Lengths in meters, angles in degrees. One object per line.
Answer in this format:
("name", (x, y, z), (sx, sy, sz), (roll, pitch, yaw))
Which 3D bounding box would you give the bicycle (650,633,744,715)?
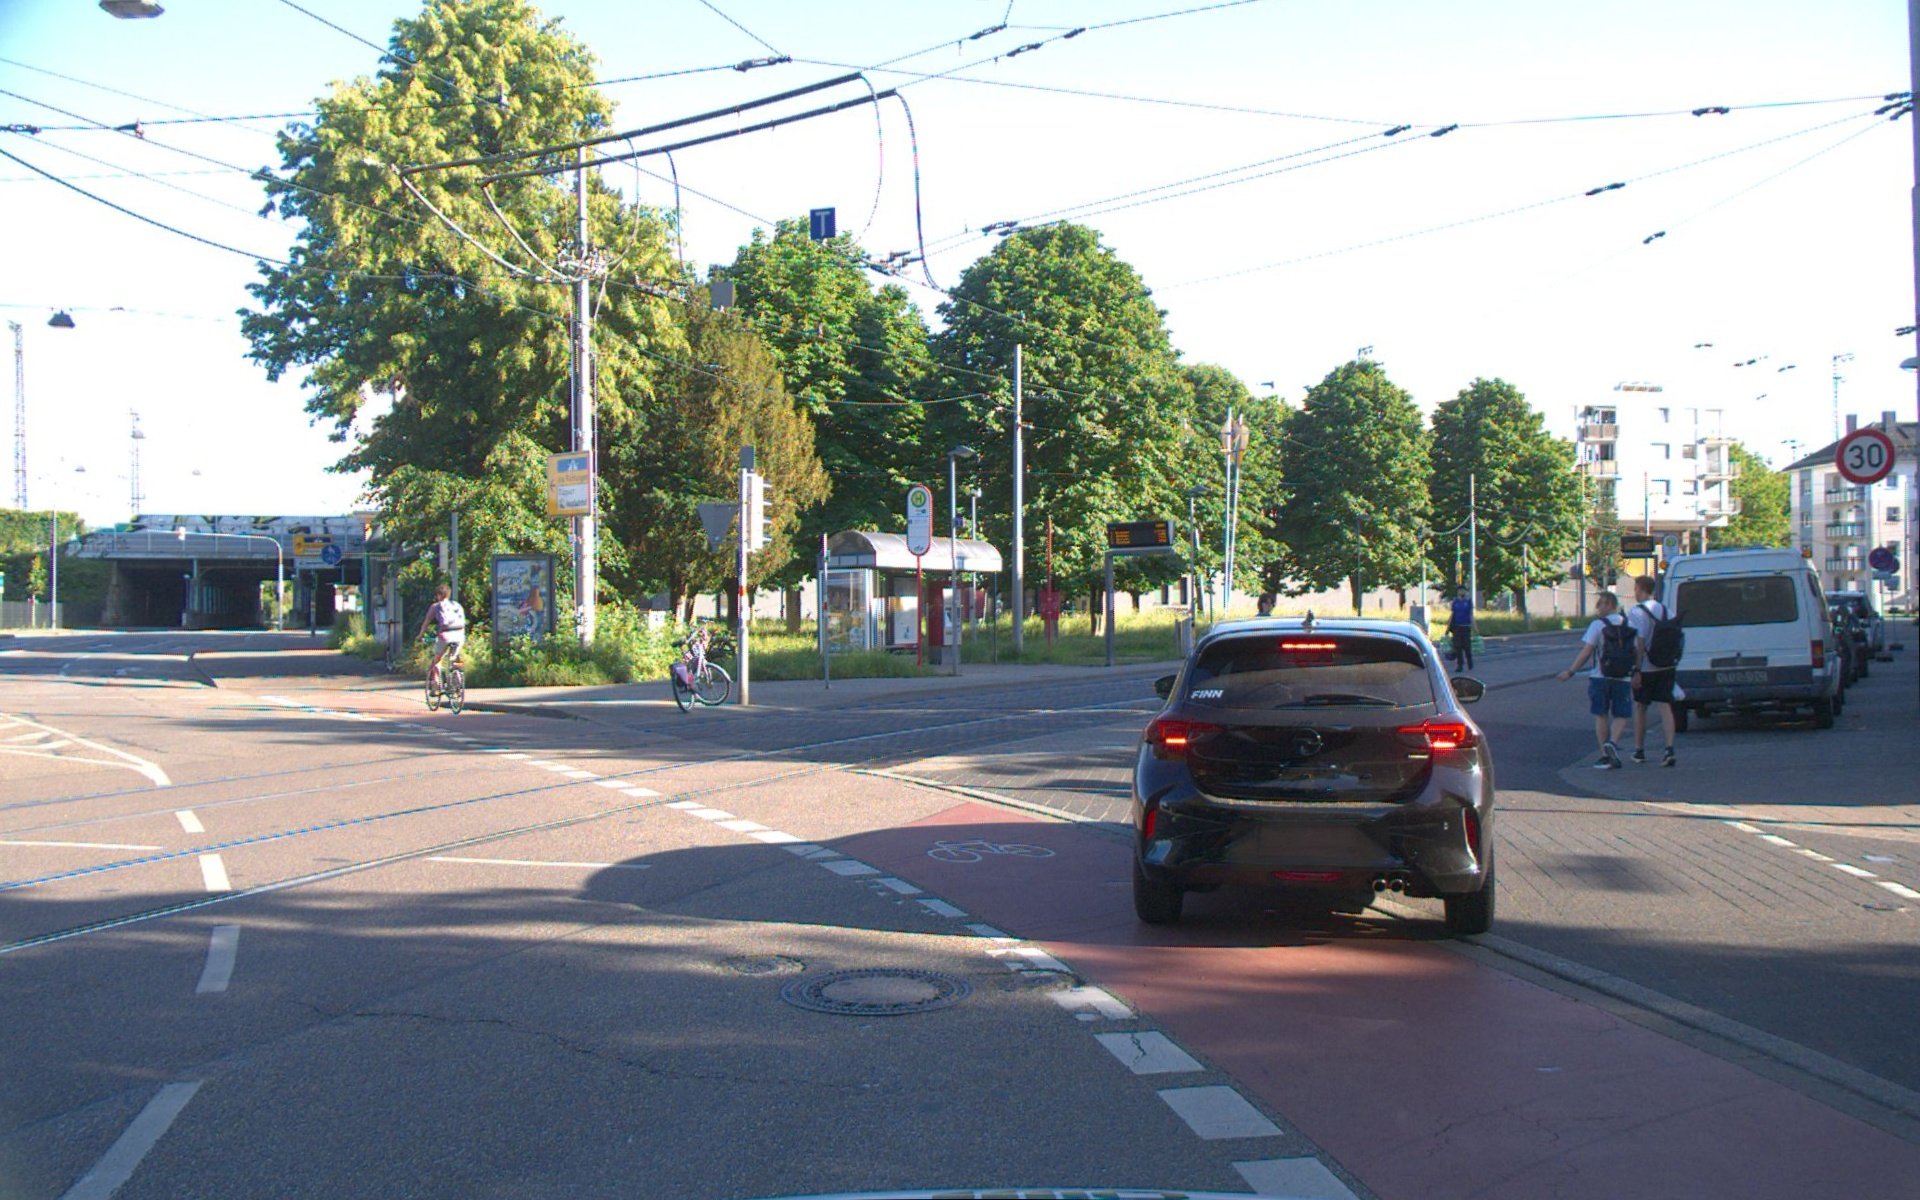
("bicycle", (-3.752, 1.043, 23.769), (0.807, 1.078, 1.884), (-1, 0, 8))

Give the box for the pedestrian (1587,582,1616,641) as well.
("pedestrian", (19.917, 0.363, 51.346), (0.666, 1.824, 0.993), (-1, -1, 31))

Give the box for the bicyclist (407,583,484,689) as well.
("bicyclist", (-7.794, 0.529, 25.016), (0.831, 1.536, 1.355), (-1, 0, -30))

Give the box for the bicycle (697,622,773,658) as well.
("bicycle", (-5.867, 1.044, 43.149), (1.836, 0.922, 0.660), (-1, 0, 13))

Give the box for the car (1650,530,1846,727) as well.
("car", (10.481, 0.369, 21.835), (2.050, 2.317, 4.298), (0, -1, 29))

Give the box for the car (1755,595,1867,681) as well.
("car", (16.100, 0.684, 31.334), (1.765, 1.502, 3.935), (-1, 0, 27))

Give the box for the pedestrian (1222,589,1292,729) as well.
("pedestrian", (3.735, 0.724, 20.796), (0.711, 1.722, 0.700), (-1, 0, 23))

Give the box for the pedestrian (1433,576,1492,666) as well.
("pedestrian", (10.438, 0.435, 34.362), (0.941, 1.824, 0.993), (-1, -1, 31))

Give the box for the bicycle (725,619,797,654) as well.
("bicycle", (-5.410, 0.979, 44.971), (1.836, 0.922, 0.660), (-1, 0, 13))

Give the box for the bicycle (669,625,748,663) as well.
("bicycle", (-6.280, 1.099, 41.324), (1.836, 0.922, 0.660), (-1, 0, 13))

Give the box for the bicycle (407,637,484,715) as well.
("bicycle", (-7.768, 1.118, 24.918), (0.660, 1.078, 2.061), (-1, 0, -30))

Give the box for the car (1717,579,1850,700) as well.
("car", (13.325, 0.591, 26.675), (1.766, 1.794, 3.885), (-1, 0, 28))

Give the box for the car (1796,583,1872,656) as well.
("car", (24.623, 0.525, 46.522), (1.766, 1.961, 3.933), (-1, 0, 29))

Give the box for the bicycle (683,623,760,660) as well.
("bicycle", (-6.094, 1.050, 42.296), (1.836, 0.922, 0.660), (-1, 0, 13))

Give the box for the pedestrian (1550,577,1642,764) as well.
("pedestrian", (6.348, 0.696, 16.531), (0.683, 1.823, 0.618), (-1, 0, 5))

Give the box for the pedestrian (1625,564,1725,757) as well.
("pedestrian", (7.159, 0.585, 16.567), (0.695, 1.879, 0.693), (0, 0, -45))

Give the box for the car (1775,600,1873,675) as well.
("car", (18.602, 0.770, 35.675), (1.765, 1.502, 3.935), (-1, 0, 27))

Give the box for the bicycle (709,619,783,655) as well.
("bicycle", (-5.707, 0.990, 44.110), (1.836, 0.922, 0.660), (-1, 0, 13))

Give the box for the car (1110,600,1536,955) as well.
("car", (1.944, 0.753, 9.009), (1.762, 1.466, 3.943), (-1, 0, 12))
